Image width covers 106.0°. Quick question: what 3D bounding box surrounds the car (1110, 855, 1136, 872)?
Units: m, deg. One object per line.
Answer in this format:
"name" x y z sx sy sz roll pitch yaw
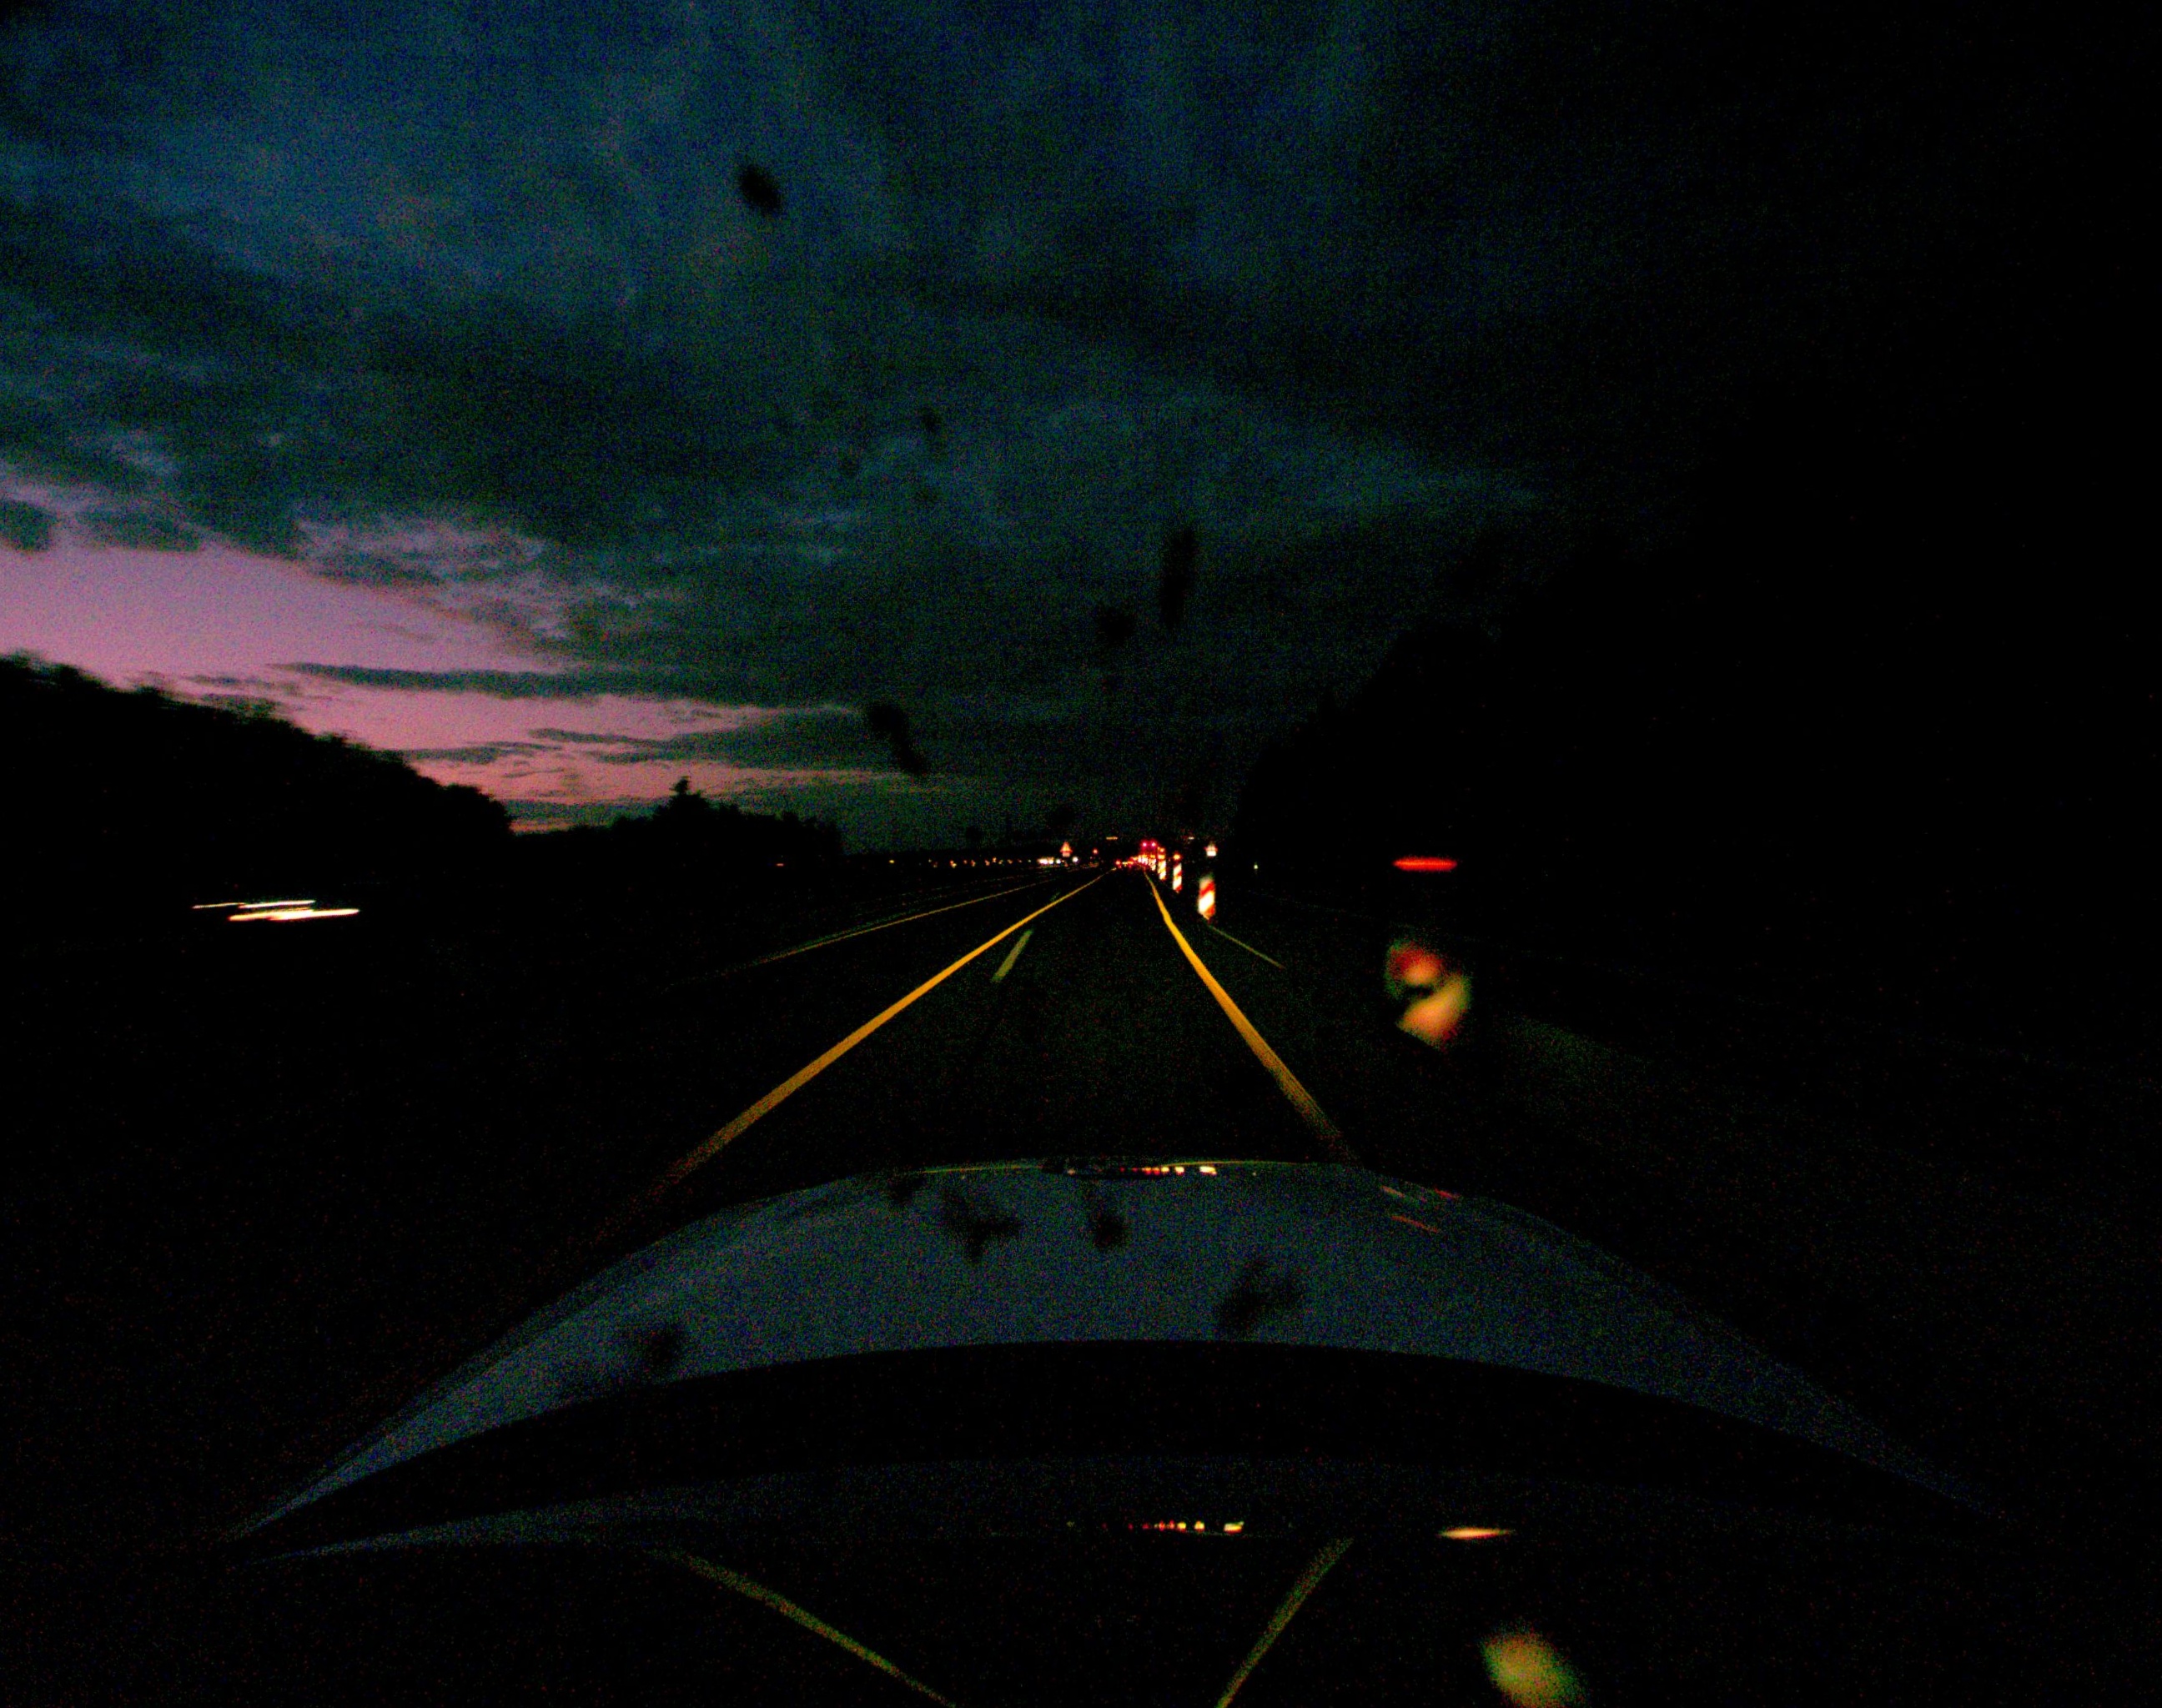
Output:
"car" 4.251 0.920 82.658 2.259 1.621 3.998 -2 0 -1

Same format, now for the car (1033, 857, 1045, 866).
"car" -8.613 1.434 165.541 1.985 1.828 4.003 0 0 3

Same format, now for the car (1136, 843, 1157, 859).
"car" 14.572 -0.601 180.549 3.597 3.395 8.004 0 0 -3

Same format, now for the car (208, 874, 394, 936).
"car" -24.205 1.528 25.515 1.899 1.714 3.945 0 0 2

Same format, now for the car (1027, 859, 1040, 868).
"car" -9.233 1.861 158.259 1.985 1.714 4.003 0 0 3

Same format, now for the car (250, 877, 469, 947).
"car" -20.275 1.551 23.258 1.824 1.661 4.842 0 0 1

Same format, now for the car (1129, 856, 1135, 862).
"car" 16.065 1.525 257.525 1.985 2.014 4.003 0 0 3
